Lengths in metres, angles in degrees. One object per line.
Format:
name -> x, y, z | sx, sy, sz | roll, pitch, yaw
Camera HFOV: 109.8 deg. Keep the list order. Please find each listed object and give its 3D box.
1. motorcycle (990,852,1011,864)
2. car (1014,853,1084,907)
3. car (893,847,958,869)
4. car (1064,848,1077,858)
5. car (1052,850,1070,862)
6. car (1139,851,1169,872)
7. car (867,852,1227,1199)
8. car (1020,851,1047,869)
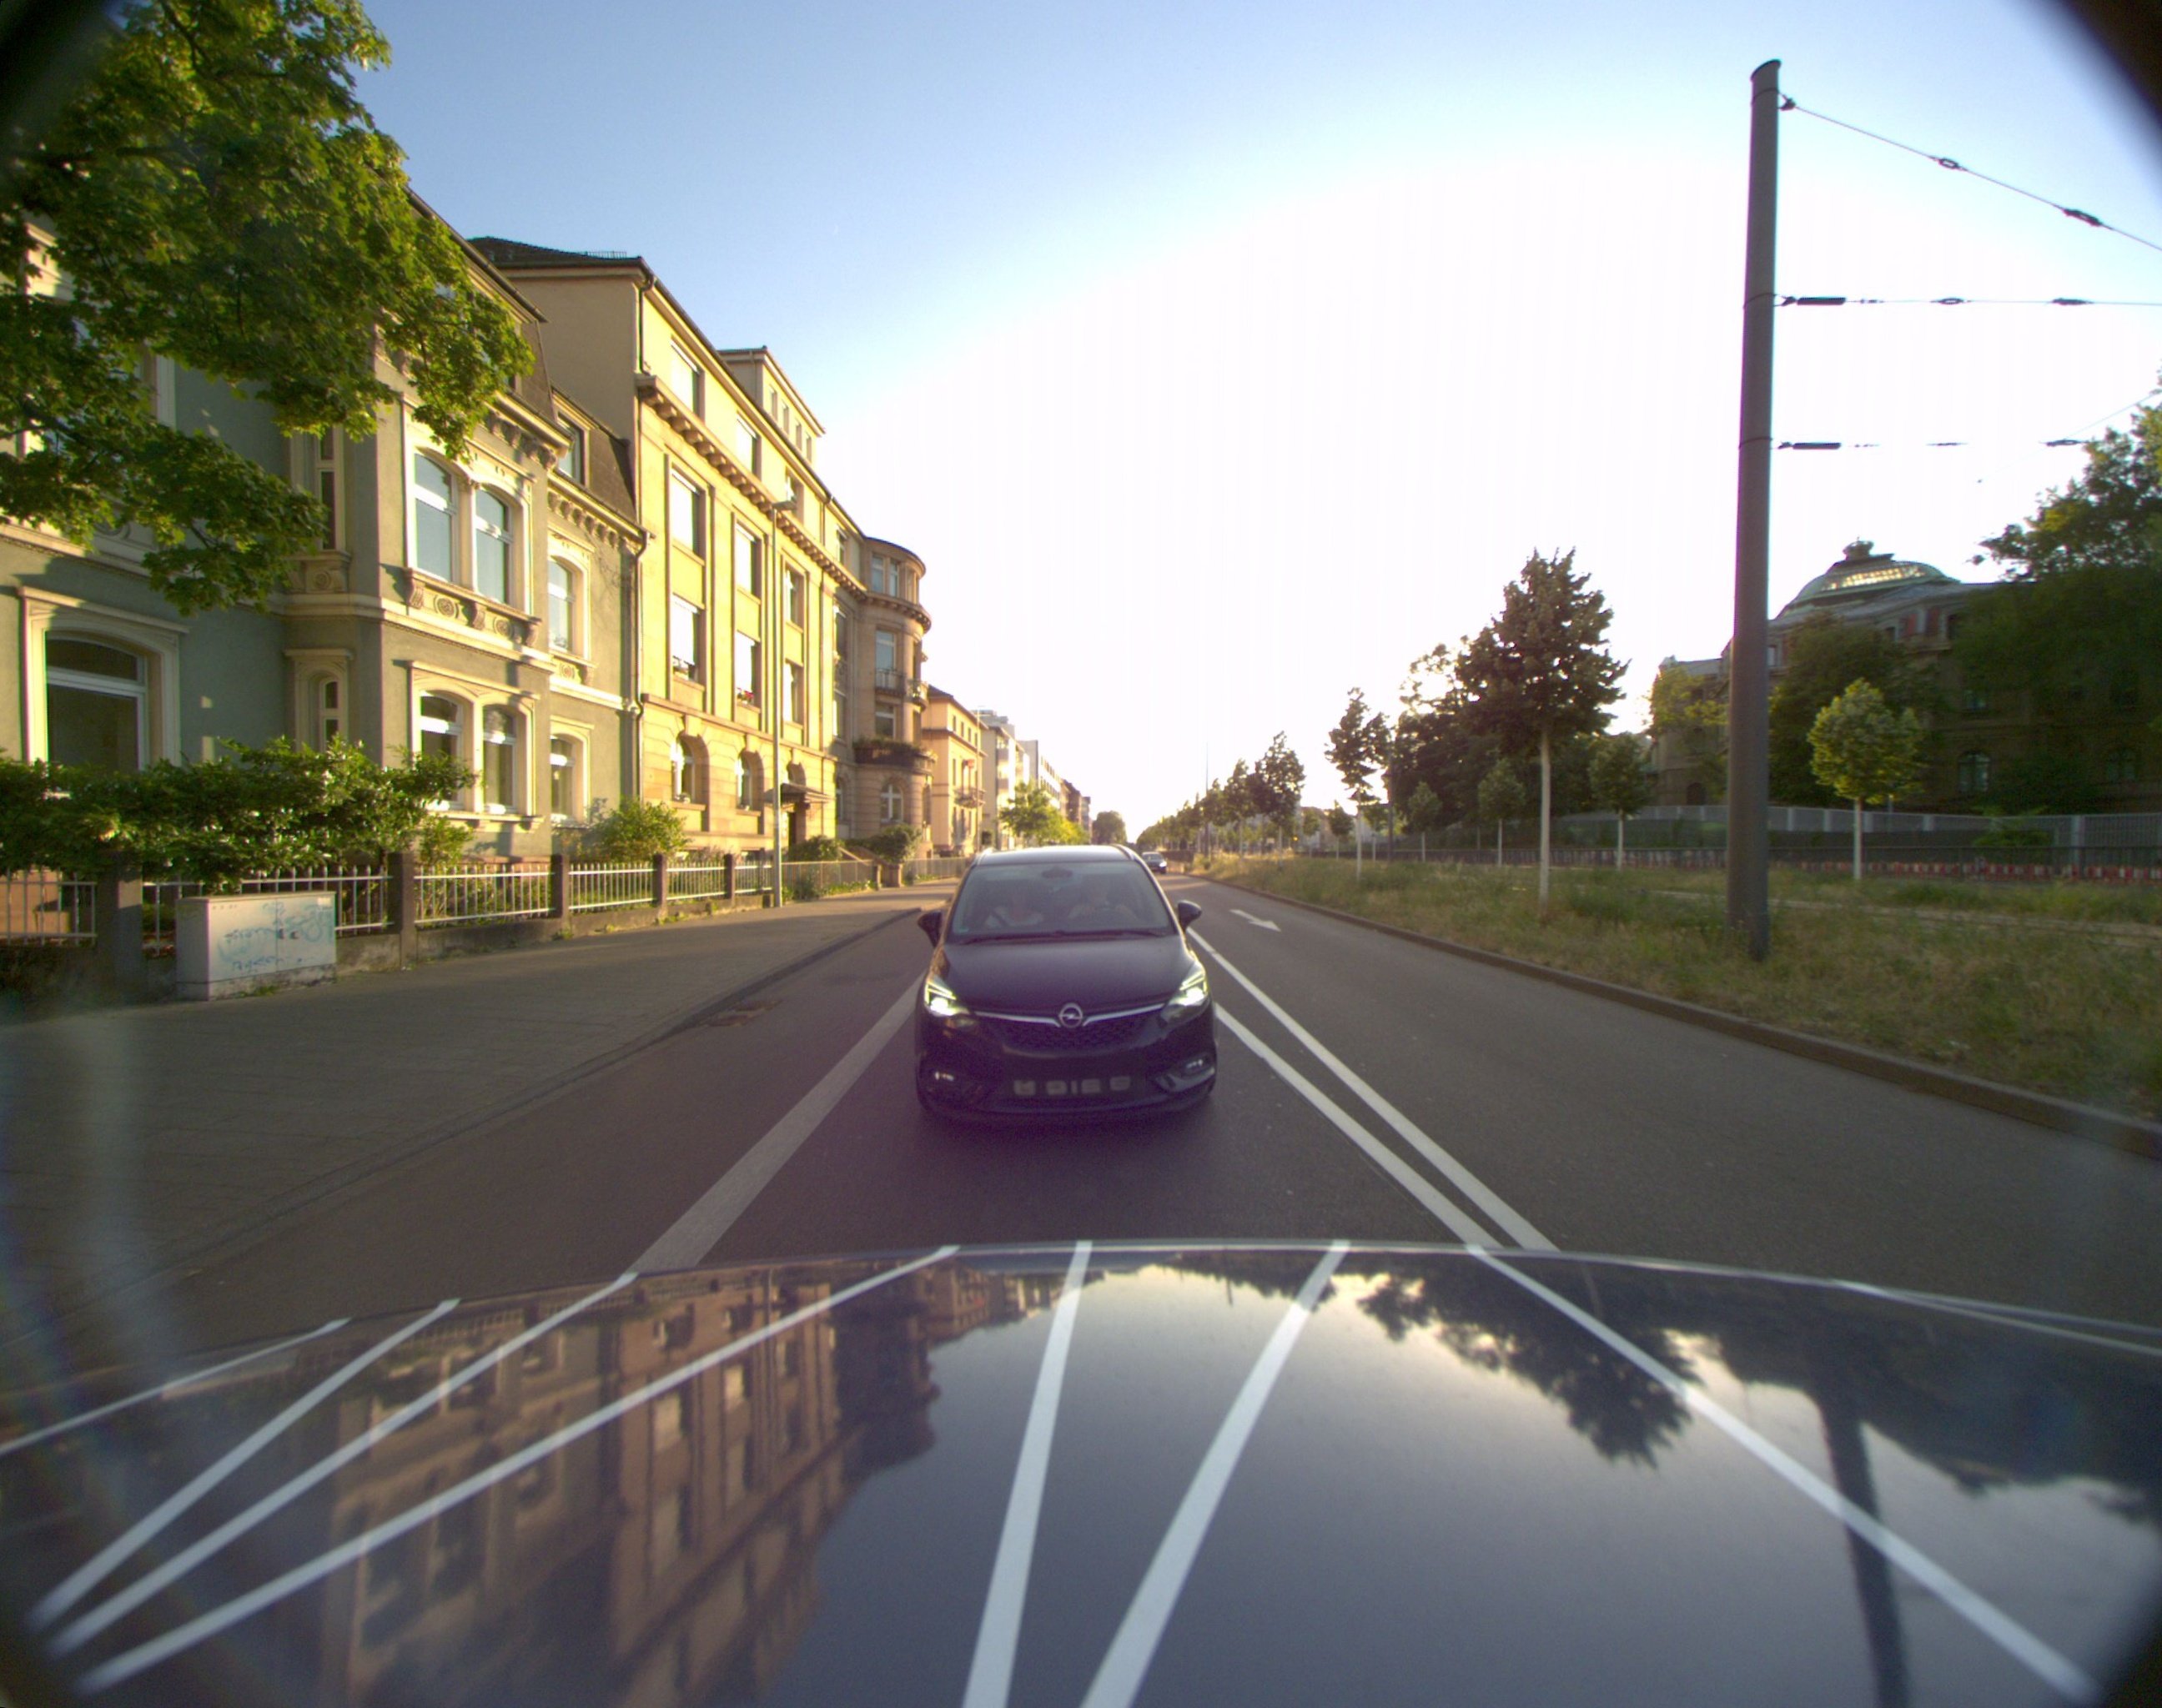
motorcycle -> -7.464, 0.372, 70.270 | 1.848, 1.090, 0.576 | -1, 1, 8
car -> -0.898, 0.739, 23.141 | 1.859, 1.425, 4.843 | -2, -1, -1
car -> -11.011, 0.251, 53.941 | 4.096, 1.472, 1.938 | -1, 1, 3
car -> -1.604, -0.181, 121.567 | 1.937, 1.472, 4.100 | -1, 0, 1
car -> -2.397, 0.243, 91.985 | 1.937, 1.472, 4.100 | -1, 0, 1
car -> 5.178, 0.537, 54.234 | 1.859, 1.425, 4.844 | -2, -1, 3
car -> -0.289, 0.839, 6.209 | 1.771, 1.649, 4.850 | -1, 1, -3
car -> -3.855, 0.440, 62.769 | 1.882, 1.394, 4.100 | -1, 0, 1
